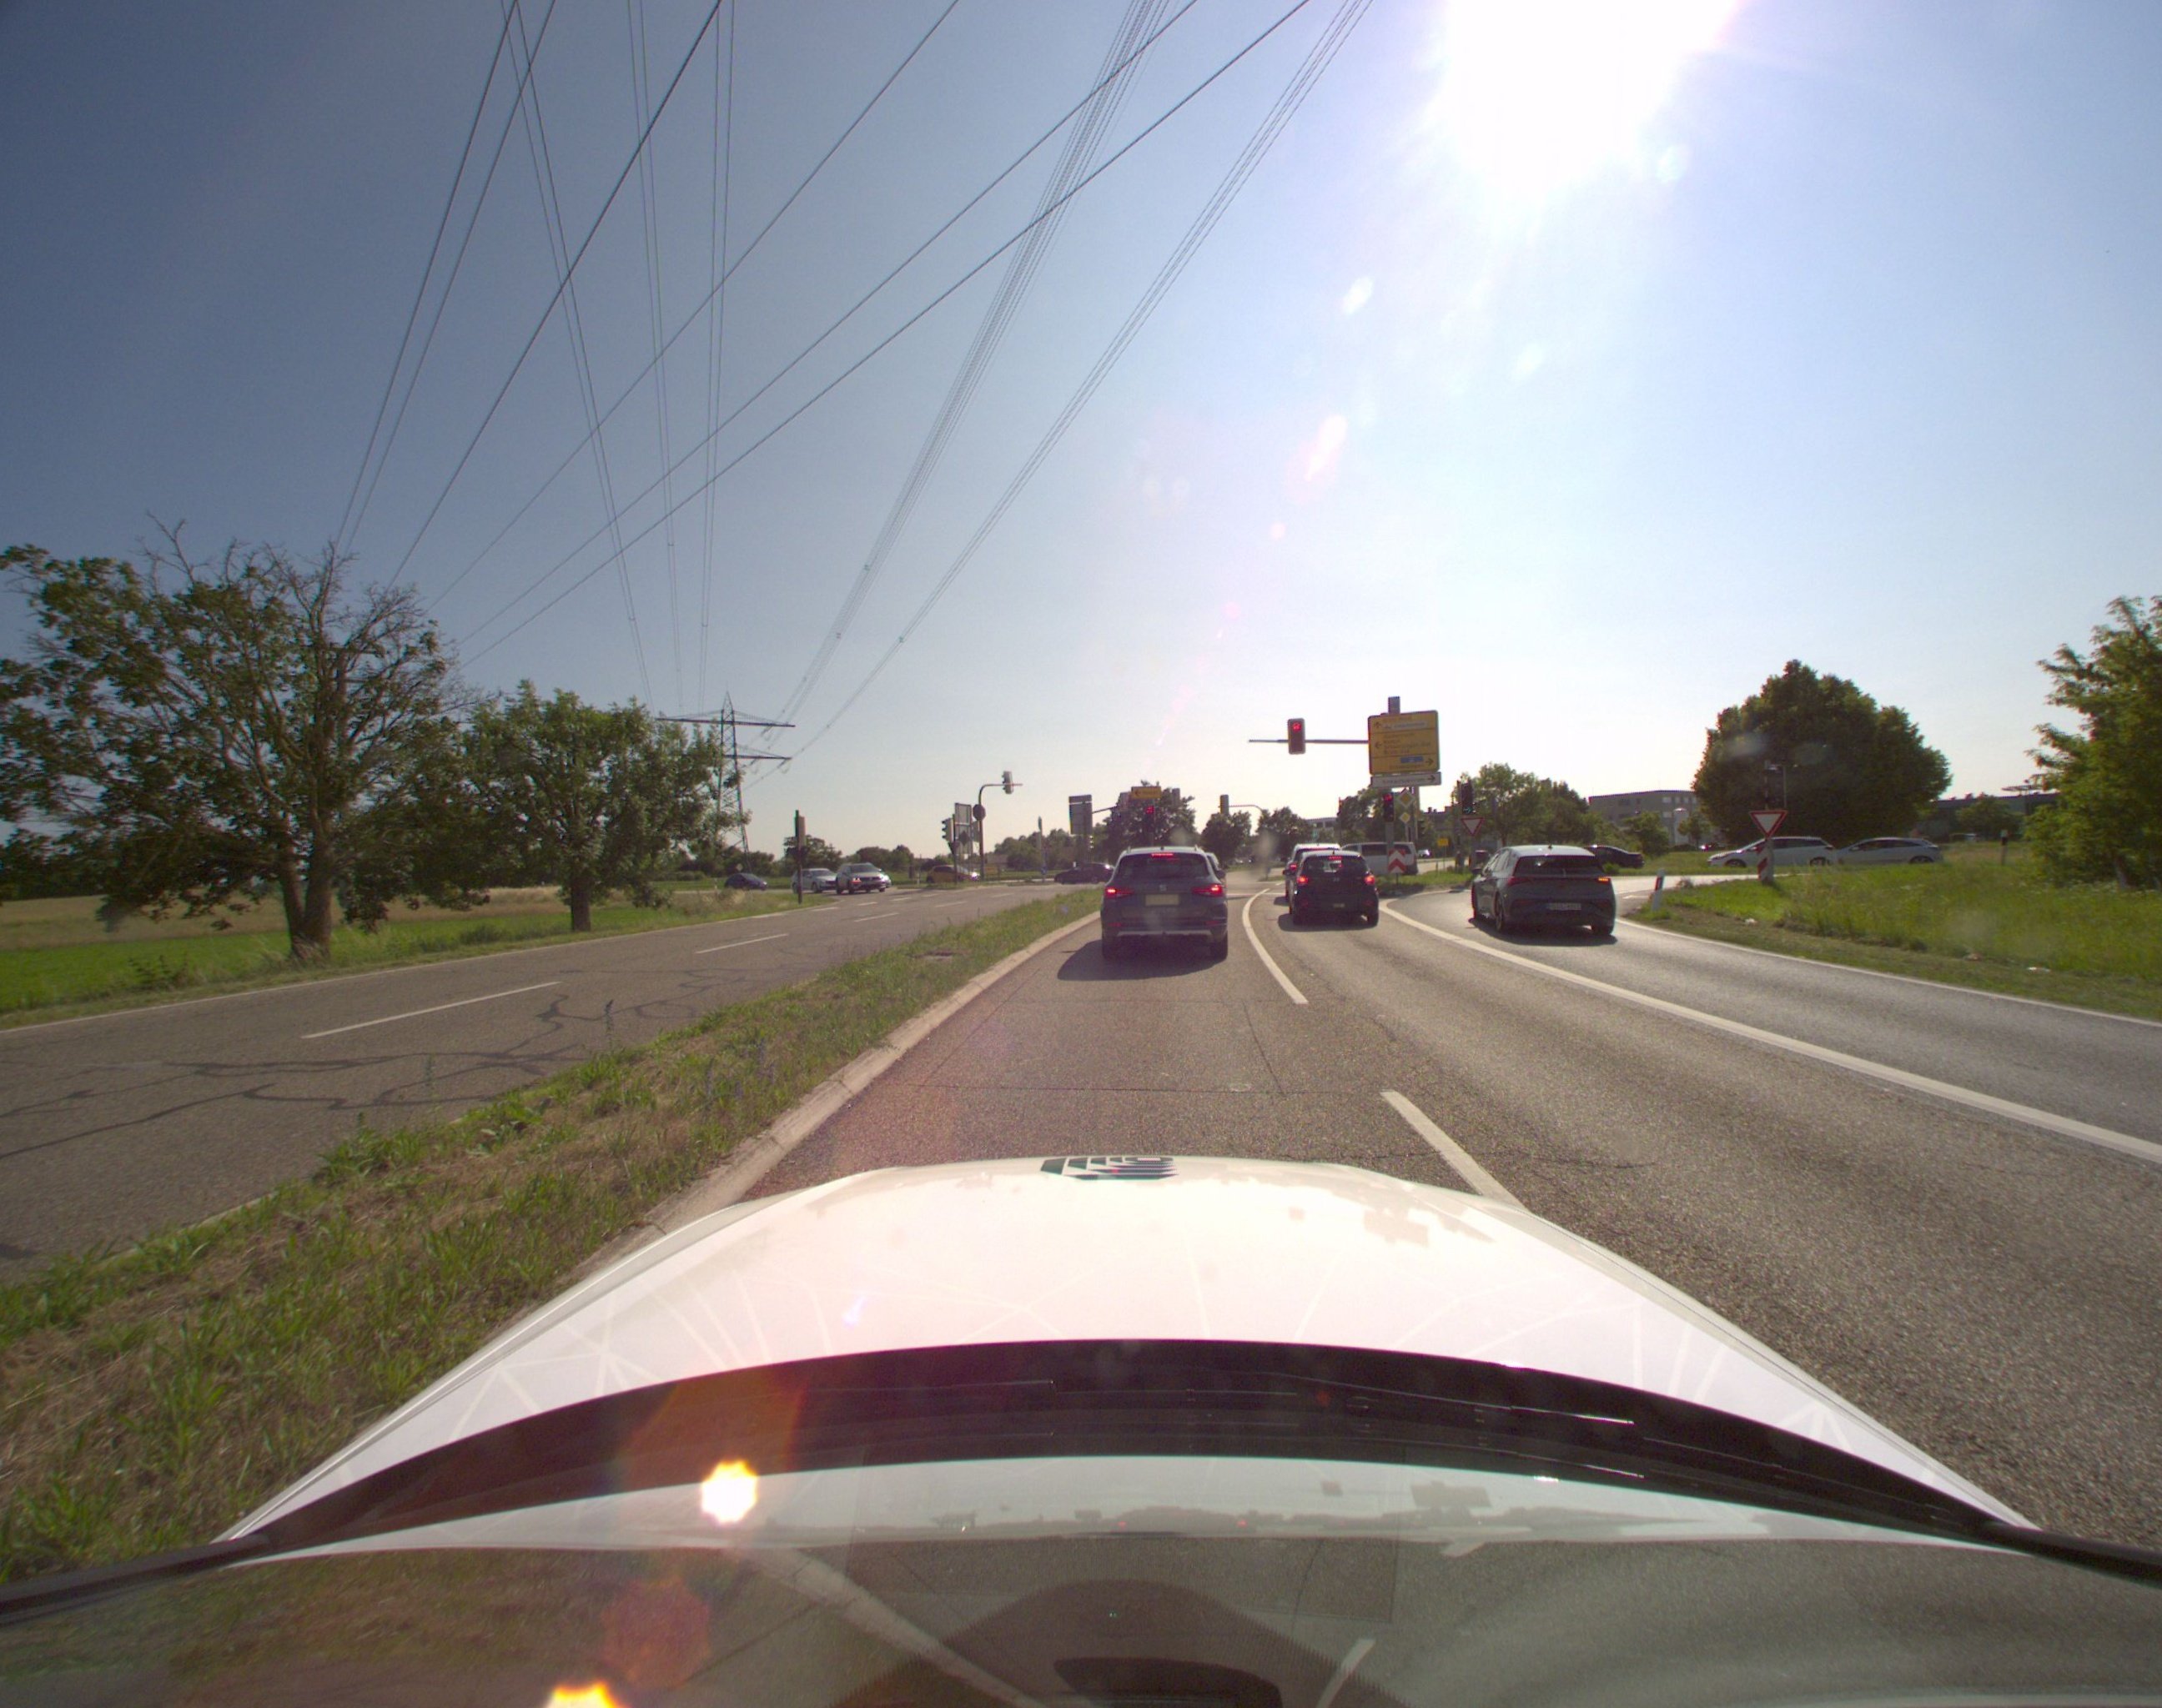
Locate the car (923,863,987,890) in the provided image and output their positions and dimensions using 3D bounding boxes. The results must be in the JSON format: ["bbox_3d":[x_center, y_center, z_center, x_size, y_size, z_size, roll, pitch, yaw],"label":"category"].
[{"bbox_3d":[-8.318,1.505,53.636,3.948,1.651,1.832,-2,-1,34],"label":"car"}]

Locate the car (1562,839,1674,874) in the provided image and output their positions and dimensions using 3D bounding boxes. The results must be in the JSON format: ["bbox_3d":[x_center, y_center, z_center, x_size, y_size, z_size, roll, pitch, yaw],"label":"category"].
[{"bbox_3d":[25.250,0.128,38.465,4.279,1.519,1.819,-2,-1,31],"label":"car"}]

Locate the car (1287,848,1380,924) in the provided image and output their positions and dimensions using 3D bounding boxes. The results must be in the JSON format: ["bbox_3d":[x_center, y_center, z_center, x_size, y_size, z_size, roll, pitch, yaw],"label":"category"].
[{"bbox_3d":[5.301,0.616,17.426,1.622,1.448,3.306,-1,0,13],"label":"car"}]

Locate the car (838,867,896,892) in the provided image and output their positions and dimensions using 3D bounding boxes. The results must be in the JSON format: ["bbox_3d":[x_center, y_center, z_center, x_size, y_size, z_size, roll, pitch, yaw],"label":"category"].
[{"bbox_3d":[-15.470,1.854,58.705,3.948,1.651,1.832,-2,-1,34],"label":"car"}]

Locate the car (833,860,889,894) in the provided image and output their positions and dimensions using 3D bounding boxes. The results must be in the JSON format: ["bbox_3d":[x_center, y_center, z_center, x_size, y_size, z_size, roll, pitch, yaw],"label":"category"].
[{"bbox_3d":[-11.692,1.227,43.039,1.826,1.651,3.960,-1,-1,-31],"label":"car"}]

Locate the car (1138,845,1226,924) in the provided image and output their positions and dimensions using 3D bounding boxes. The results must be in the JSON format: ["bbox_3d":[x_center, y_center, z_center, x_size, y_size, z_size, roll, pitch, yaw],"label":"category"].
[{"bbox_3d":[2.218,0.615,18.019,1.733,1.569,3.631,0,0,7],"label":"car"}]

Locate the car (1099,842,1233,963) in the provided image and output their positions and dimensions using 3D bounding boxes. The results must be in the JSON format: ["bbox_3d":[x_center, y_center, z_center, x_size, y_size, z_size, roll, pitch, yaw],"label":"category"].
[{"bbox_3d":[1.307,0.648,12.601,1.733,1.569,3.630,-2,0,6],"label":"car"}]

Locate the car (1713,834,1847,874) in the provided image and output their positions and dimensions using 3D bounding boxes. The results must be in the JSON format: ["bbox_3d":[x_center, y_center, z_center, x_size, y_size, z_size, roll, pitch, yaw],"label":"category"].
[{"bbox_3d":[27.701,0.031,32.466,3.861,1.465,1.734,-2,-1,35],"label":"car"}]

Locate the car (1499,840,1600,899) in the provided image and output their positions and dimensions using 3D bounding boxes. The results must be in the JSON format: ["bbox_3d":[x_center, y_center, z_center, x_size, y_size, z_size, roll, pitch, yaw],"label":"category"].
[{"bbox_3d":[12.780,0.374,22.106,1.625,1.385,4.025,-2,0,40],"label":"car"}]

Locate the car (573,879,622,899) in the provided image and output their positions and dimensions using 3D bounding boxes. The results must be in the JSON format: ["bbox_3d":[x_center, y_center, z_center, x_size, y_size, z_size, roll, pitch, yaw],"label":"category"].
[{"bbox_3d":[-43.247,3.158,72.801,4.699,1.651,1.832,-2,-1,34],"label":"car"}]

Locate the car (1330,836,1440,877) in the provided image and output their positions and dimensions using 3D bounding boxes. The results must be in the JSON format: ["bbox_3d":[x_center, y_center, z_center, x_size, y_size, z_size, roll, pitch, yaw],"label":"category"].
[{"bbox_3d":[14.843,0.133,40.040,4.896,1.918,2.008,-1,0,14],"label":"car"}]

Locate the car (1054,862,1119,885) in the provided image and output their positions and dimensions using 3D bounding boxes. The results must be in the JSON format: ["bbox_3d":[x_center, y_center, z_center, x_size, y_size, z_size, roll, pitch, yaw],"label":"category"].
[{"bbox_3d":[0.342,1.299,54.687,4.050,1.416,1.727,-2,-1,32],"label":"car"}]

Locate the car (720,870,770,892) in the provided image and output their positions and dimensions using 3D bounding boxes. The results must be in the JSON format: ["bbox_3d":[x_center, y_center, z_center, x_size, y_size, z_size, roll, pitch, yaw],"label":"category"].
[{"bbox_3d":[-27.315,2.189,66.225,3.948,1.651,1.832,-2,-1,34],"label":"car"}]

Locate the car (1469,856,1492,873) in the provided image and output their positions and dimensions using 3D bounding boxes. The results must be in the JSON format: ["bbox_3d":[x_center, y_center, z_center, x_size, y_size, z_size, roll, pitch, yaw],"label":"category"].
[{"bbox_3d":[41.740,1.060,85.032,1.859,1.673,3.794,0,0,31],"label":"car"}]

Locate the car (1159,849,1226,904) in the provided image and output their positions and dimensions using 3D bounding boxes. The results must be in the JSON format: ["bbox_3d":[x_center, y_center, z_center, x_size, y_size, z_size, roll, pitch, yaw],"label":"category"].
[{"bbox_3d":[3.334,0.620,23.948,1.731,1.484,3.635,0,0,11],"label":"car"}]

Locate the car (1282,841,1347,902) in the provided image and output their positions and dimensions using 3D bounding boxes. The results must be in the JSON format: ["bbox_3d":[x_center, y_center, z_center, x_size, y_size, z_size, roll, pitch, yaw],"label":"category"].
[{"bbox_3d":[6.864,0.485,24.171,1.622,1.677,3.762,-1,0,13],"label":"car"}]

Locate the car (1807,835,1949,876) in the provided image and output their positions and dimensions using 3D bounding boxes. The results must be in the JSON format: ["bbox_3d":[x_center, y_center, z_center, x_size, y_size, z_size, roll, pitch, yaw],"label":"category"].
[{"bbox_3d":[32.740,0.086,33.616,3.830,1.519,1.819,-2,-1,31],"label":"car"}]

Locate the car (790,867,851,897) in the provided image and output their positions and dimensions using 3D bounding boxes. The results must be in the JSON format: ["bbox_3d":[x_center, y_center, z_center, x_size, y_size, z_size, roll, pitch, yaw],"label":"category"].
[{"bbox_3d":[-15.521,1.657,48.367,1.831,1.651,3.950,-1,-1,-45],"label":"car"}]

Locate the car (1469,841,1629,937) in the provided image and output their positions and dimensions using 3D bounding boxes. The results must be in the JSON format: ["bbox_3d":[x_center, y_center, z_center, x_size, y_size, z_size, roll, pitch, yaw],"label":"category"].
[{"bbox_3d":[8.542,0.545,15.253,1.759,1.517,4.118,-1,1,18],"label":"car"}]
